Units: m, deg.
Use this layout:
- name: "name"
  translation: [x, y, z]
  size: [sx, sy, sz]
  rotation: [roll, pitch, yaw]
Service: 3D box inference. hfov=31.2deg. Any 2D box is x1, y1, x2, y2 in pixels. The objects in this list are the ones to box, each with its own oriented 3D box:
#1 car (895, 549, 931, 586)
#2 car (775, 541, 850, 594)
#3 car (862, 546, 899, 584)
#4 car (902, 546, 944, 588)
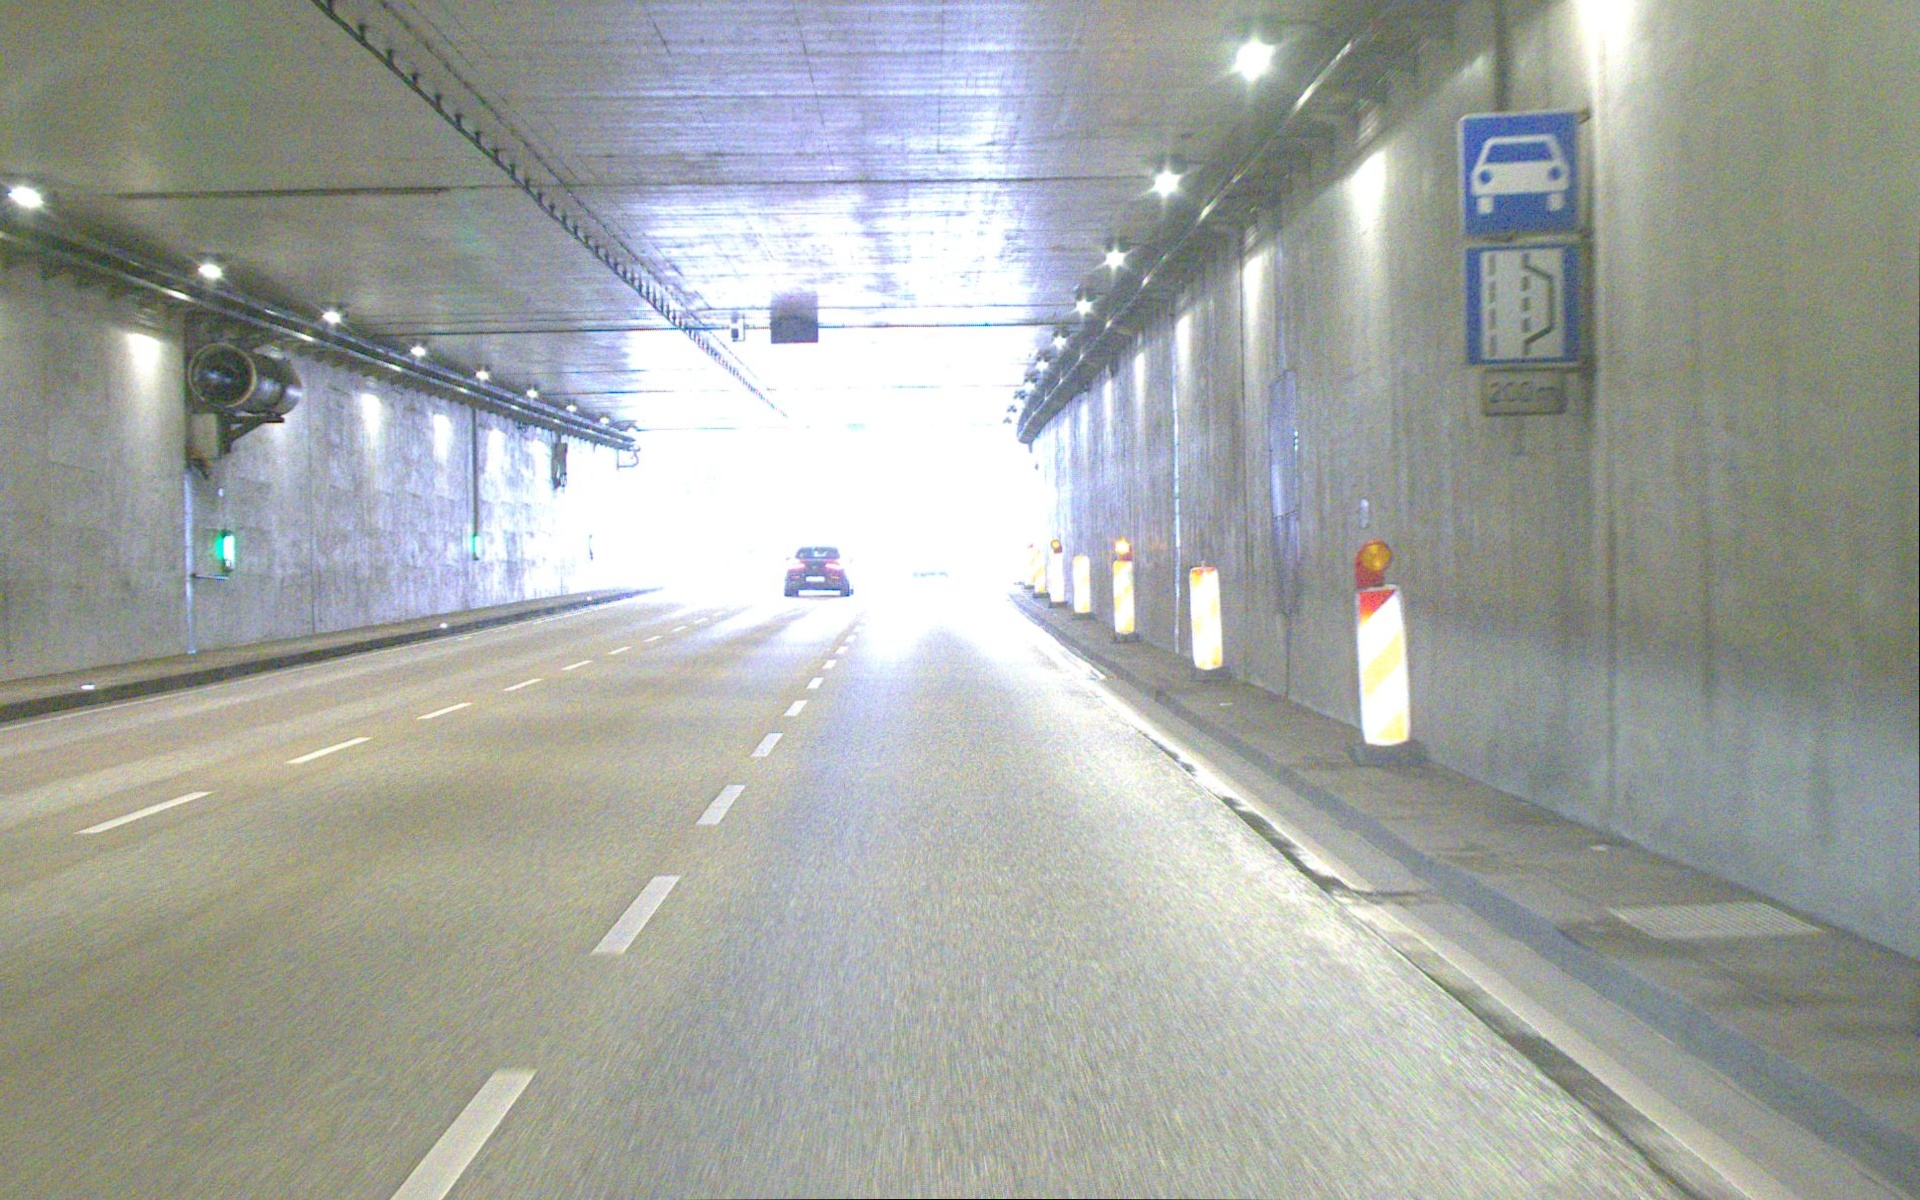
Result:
- name: "car"
  translation: [-2.685, -1.845, 195.228]
  size: [1.993, 2.007, 4.000]
  rotation: [-1, 0, -1]
- name: "car"
  translation: [-4.206, -0.931, 97.342]
  size: [1.993, 1.443, 4.315]
  rotation: [1, 1, -4]
- name: "car"
  translation: [-4.358, -1.912, 188.942]
  size: [1.993, 2.007, 4.000]
  rotation: [-1, 0, -1]
- name: "car"
  translation: [-1.787, -1.602, 167.981]
  size: [1.993, 2.007, 4.000]
  rotation: [0, 0, 0]
